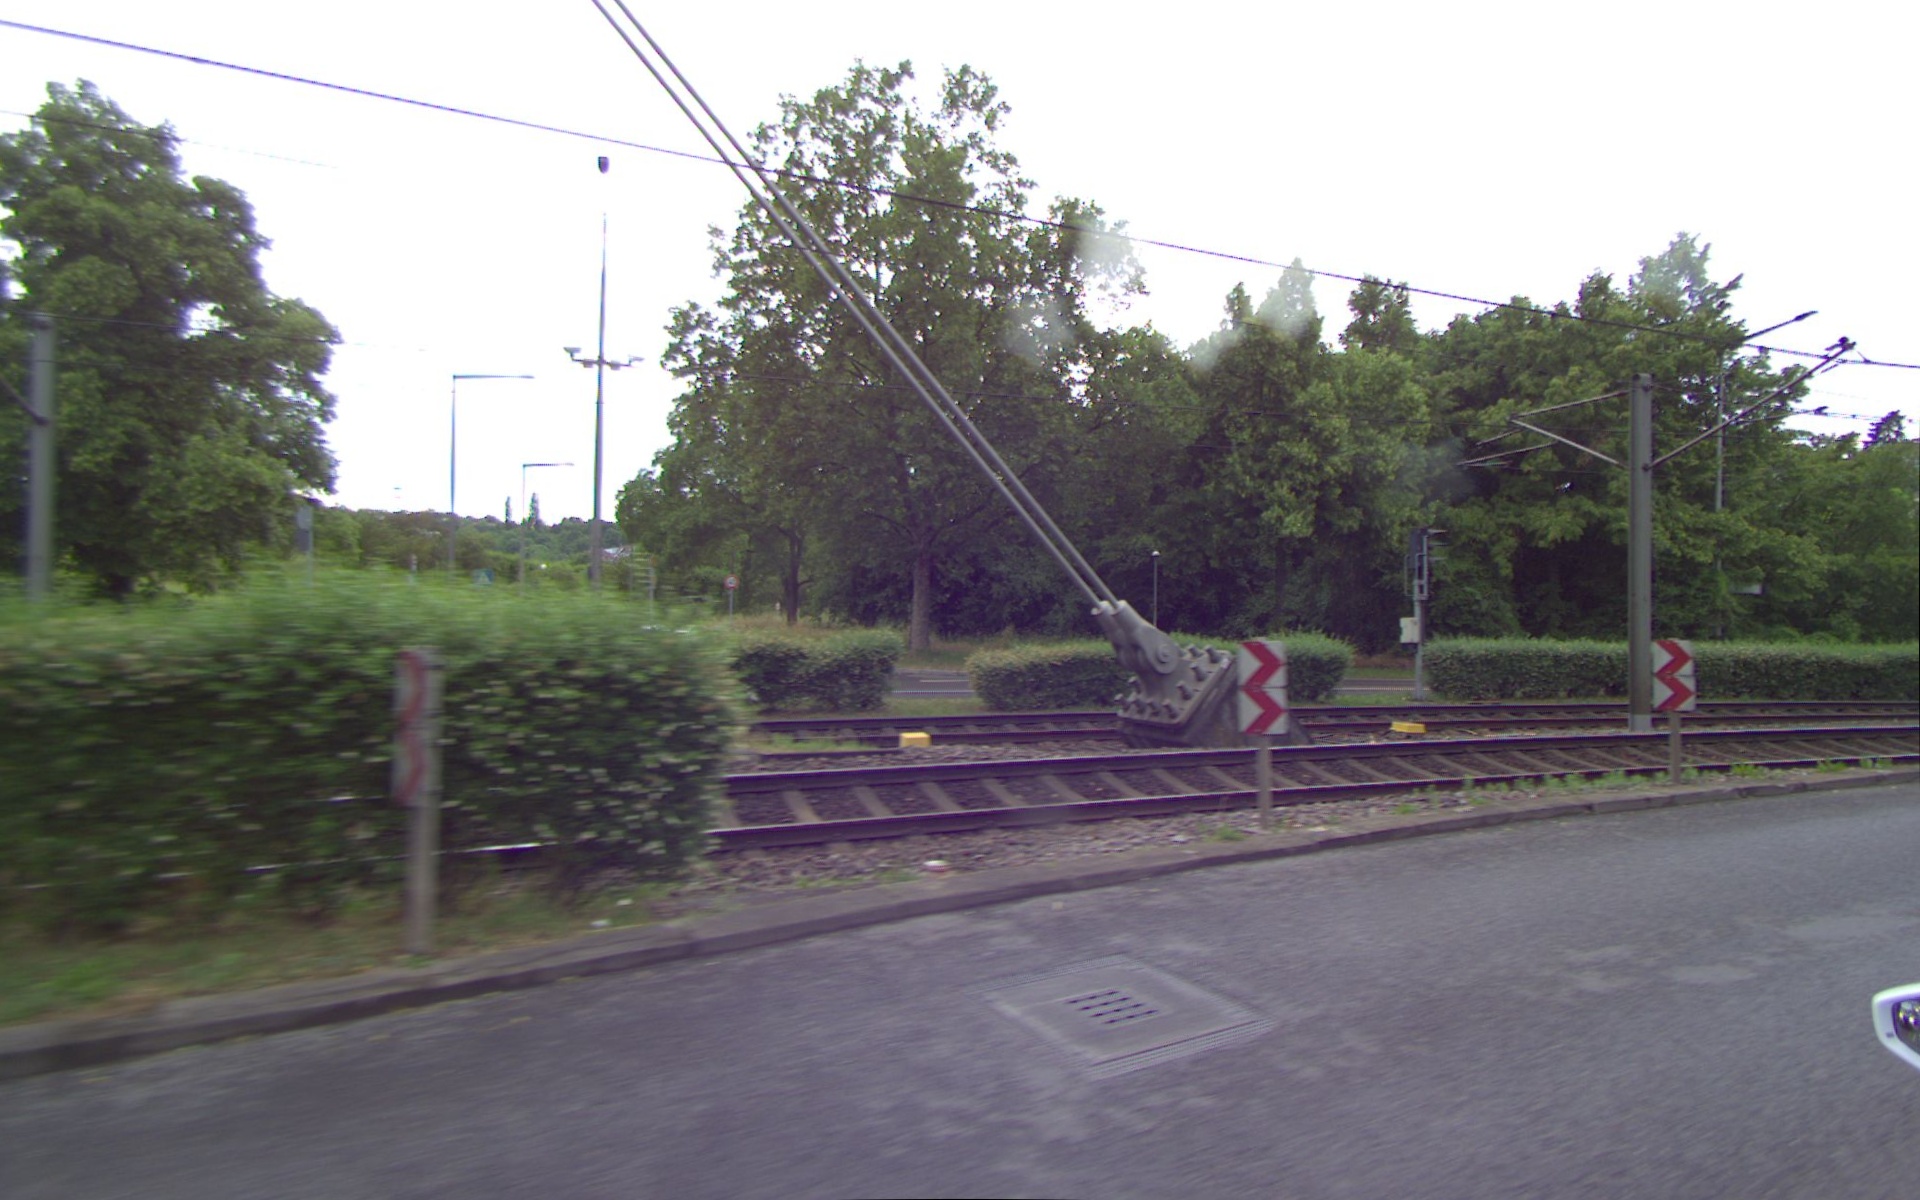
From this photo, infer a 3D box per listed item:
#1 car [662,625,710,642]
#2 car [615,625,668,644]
[{"bbox_3d":[-23.832,2.940,87.485,1.852,1.386,3.995,2,-1,28],"label":"car"},{"bbox_3d":[-26.020,2.826,82.259,1.852,1.386,3.996,2,-1,27],"label":"car"}]
